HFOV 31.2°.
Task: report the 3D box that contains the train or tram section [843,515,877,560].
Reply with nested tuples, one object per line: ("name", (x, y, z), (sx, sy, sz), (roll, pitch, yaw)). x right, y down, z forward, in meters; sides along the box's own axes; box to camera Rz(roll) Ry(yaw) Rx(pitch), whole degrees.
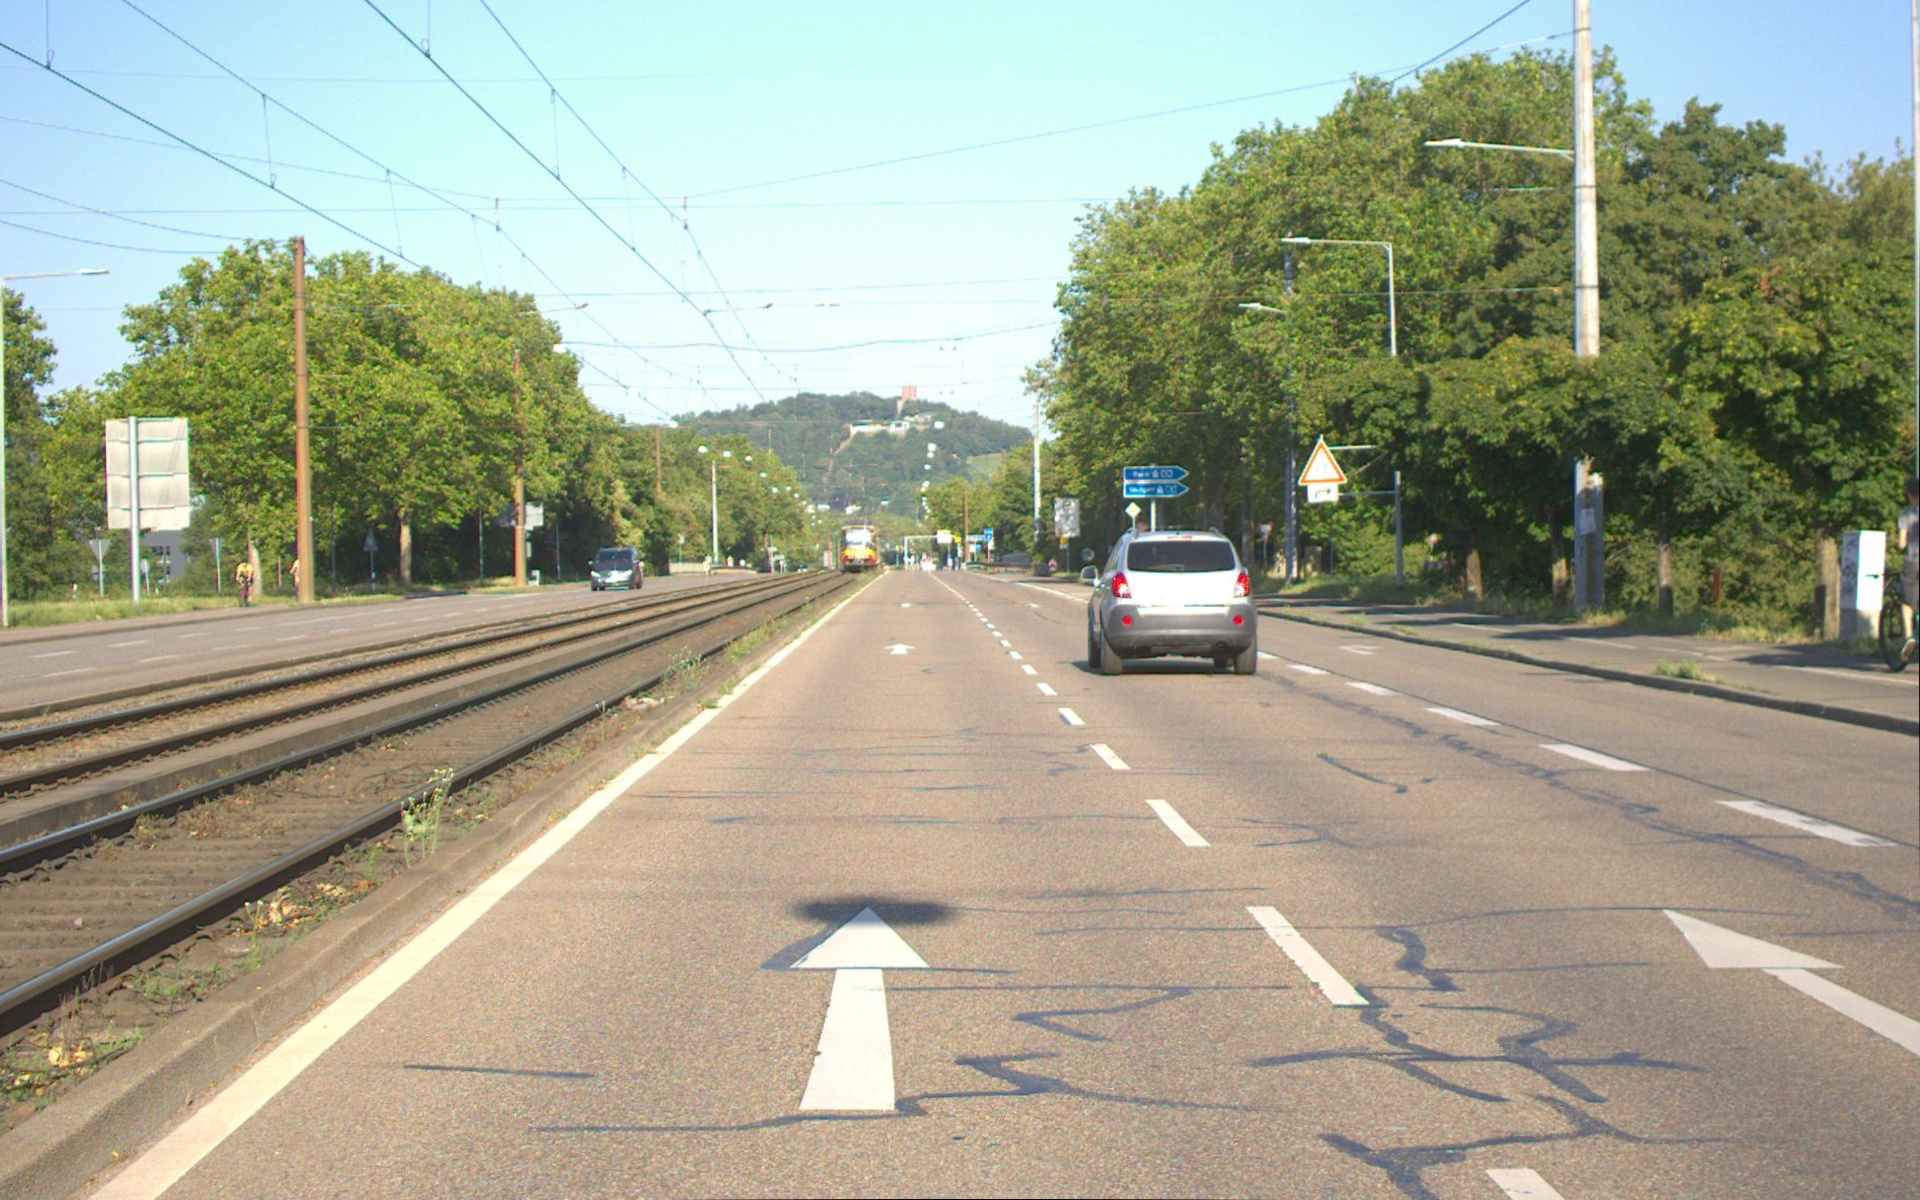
("train or tram section", (-7.416, -4.628, 256.438), (2.310, 3.206, 9.475), (1, 0, -1))

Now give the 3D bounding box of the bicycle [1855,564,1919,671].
("bicycle", (9.651, 0.170, 35.036), (0.527, 1.057, 1.971), (1, 0, 0))

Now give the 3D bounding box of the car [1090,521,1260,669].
("car", (2.548, -0.072, 41.613), (1.888, 1.688, 4.256), (0, 0, 1))

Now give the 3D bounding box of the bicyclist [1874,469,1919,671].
("bicyclist", (9.646, -0.300, 34.838), (0.527, 2.010, 0.729), (1, 0, 0))

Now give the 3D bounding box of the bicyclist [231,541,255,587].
("bicyclist", (-24.003, -1.216, 115.078), (0.590, 1.523, 0.906), (-1, 0, -1))

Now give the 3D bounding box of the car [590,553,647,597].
("car", (-15.261, -1.130, 153.716), (1.993, 1.916, 4.860), (-1, 0, 1))

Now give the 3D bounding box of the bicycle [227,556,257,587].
("bicycle", (-24.002, -0.945, 114.990), (0.590, 1.018, 2.186), (-1, 0, -1))
